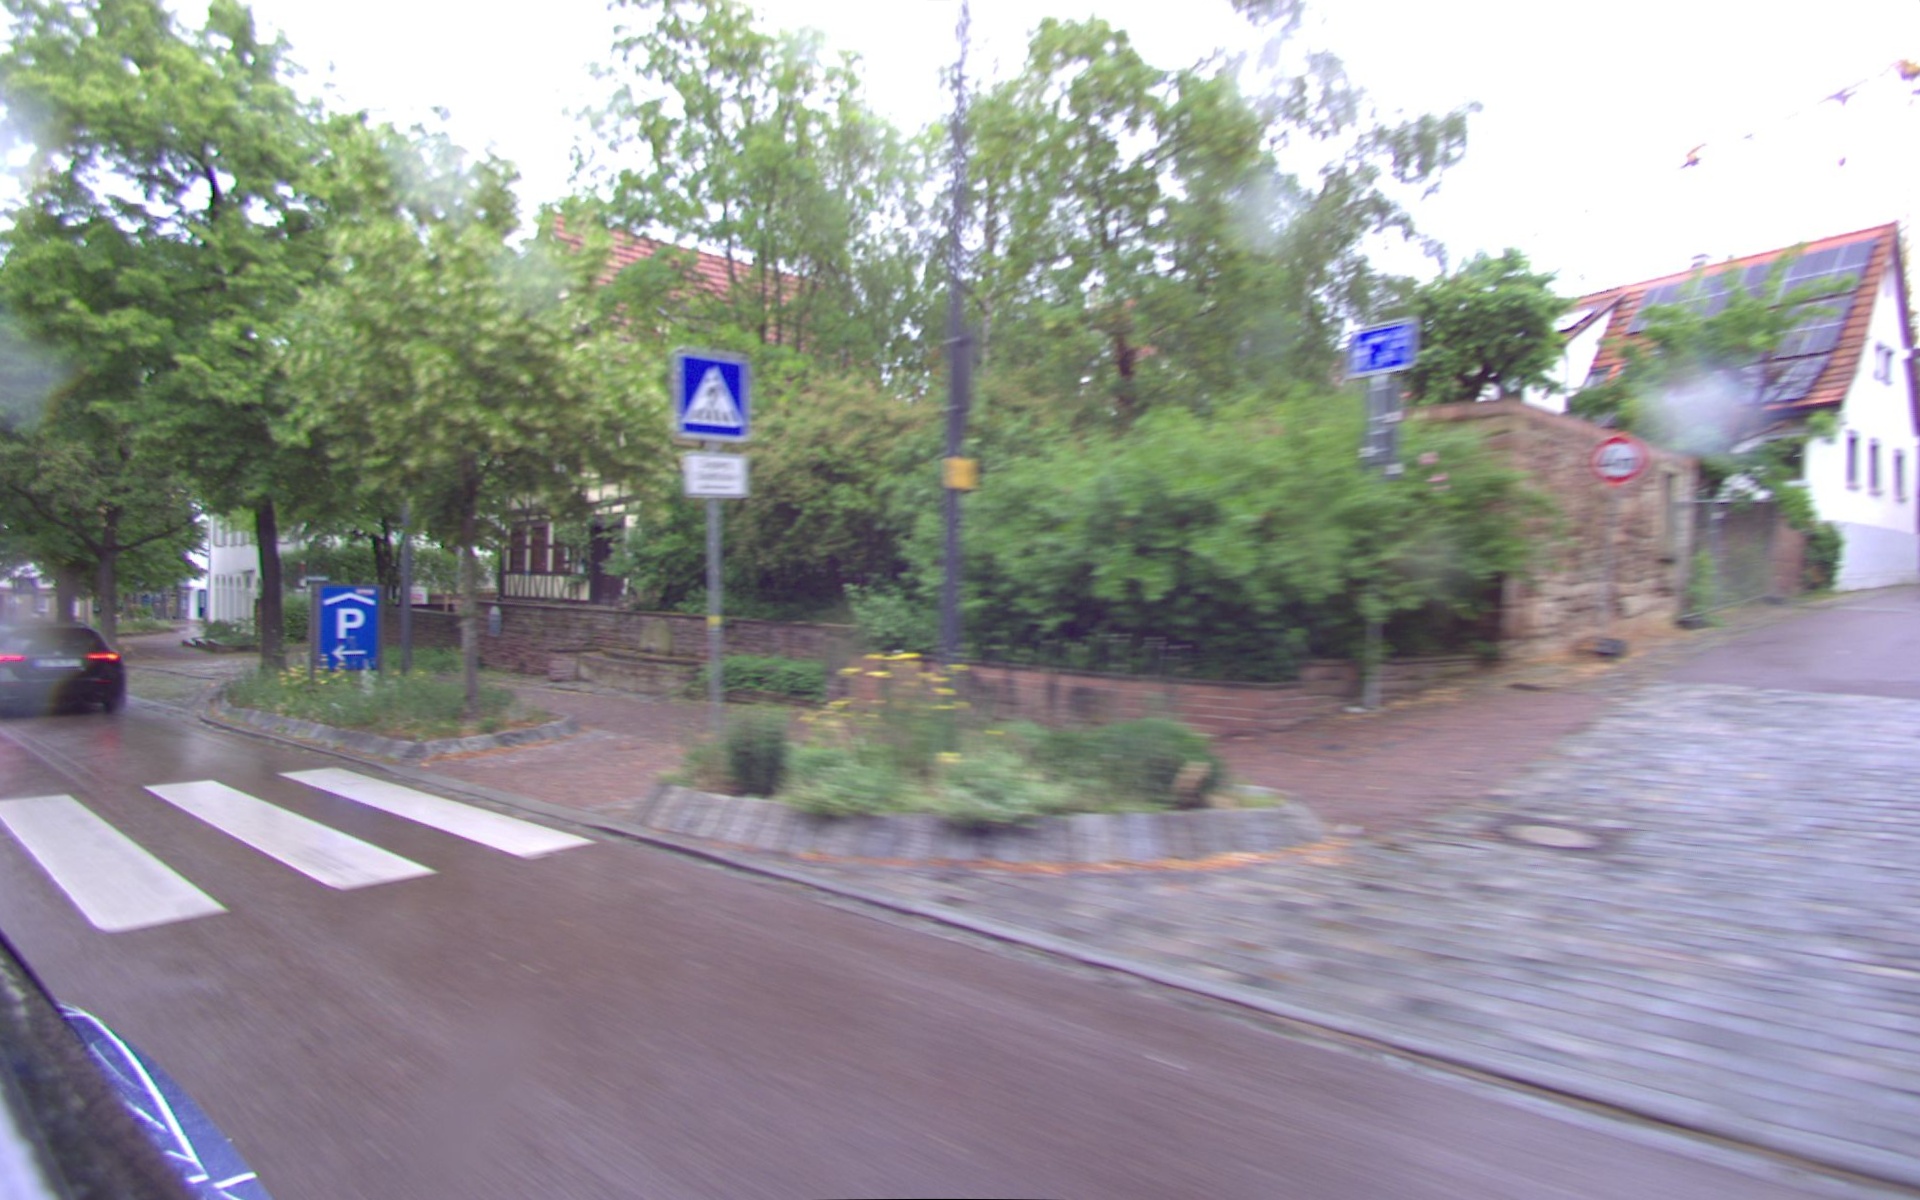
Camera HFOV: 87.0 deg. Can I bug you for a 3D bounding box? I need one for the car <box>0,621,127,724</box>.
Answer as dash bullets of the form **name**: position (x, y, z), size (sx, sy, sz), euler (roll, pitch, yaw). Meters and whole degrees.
- **car**: position (-15.056, 1.098, 16.331), size (4.407, 1.396, 1.836), euler (-2, 1, 42)
